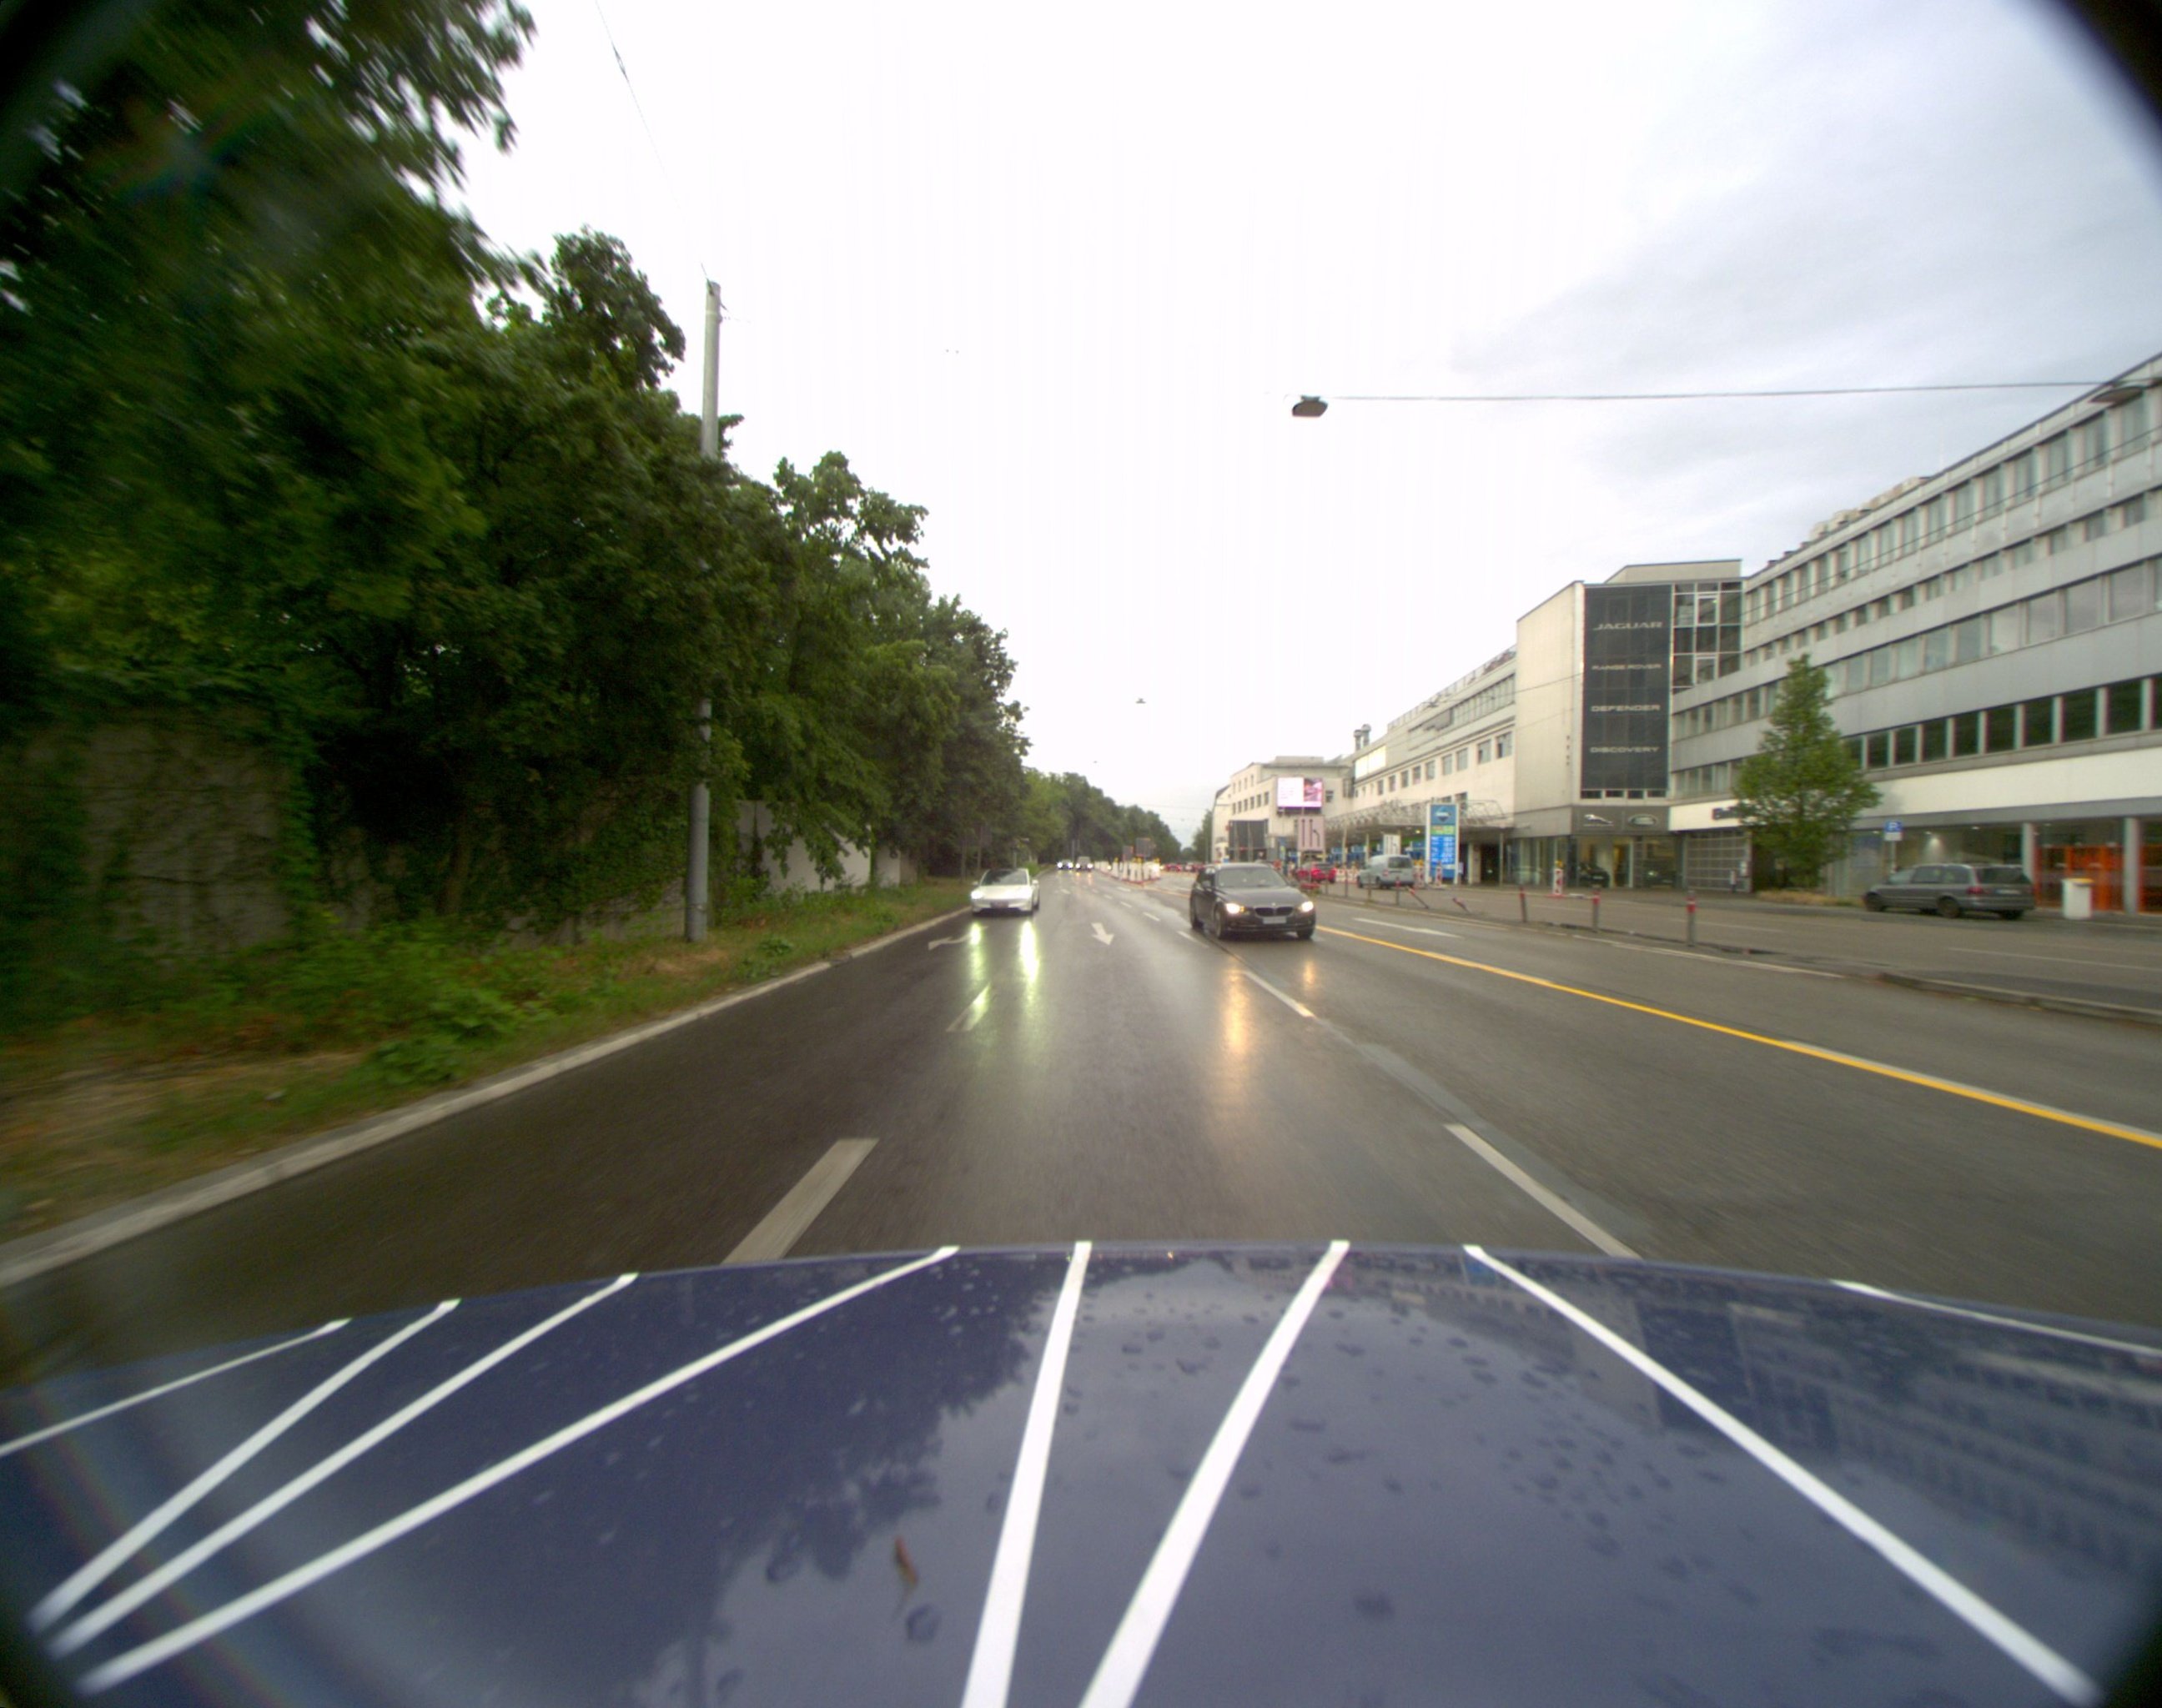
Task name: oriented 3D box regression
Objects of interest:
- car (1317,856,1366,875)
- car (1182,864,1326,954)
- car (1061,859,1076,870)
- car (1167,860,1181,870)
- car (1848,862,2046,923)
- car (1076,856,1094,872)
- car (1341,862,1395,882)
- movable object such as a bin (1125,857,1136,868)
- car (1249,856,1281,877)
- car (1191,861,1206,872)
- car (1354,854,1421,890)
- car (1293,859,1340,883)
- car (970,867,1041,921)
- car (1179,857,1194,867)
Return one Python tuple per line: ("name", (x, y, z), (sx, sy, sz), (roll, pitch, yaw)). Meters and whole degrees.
("car", (27.554, 1.177, 80.456), (4.432, 1.760, 1.972), (2, 0, 41))
("car", (3.344, 1.004, 15.532), (1.764, 1.441, 4.176), (-2, 1, -3))
("car", (-1.724, 1.424, 104.558), (1.741, 1.477, 3.918), (-2, 0, 2))
("car", (13.914, 1.619, 113.774), (1.692, 1.346, 4.116), (2, 0, 3))
("car", (28.889, 1.193, 25.628), (1.851, 1.768, 4.734), (2, 0, 11))
("car", (0.532, 1.151, 90.462), (1.998, 1.739, 4.000), (2, 0, 2))
("car", (28.246, 1.768, 74.828), (4.465, 1.669, 2.019), (2, 0, 41))
("movable object such as a bin", (10.462, 1.844, 159.301), (1.997, 2.099, 3.852), (2, -1, 8))
("car", (16.295, 1.055, 67.550), (1.850, 1.727, 4.605), (1, 0, 1))
("car", (17.484, 1.835, 113.243), (1.755, 1.505, 4.001), (2, 1, 4))
("car", (16.231, 0.890, 40.477), (1.738, 1.775, 4.301), (2, 0, -1))
("car", (16.069, 1.115, 52.044), (1.834, 1.493, 4.373), (2, 0, 0))
("car", (-2.317, 1.211, 24.305), (1.840, 1.424, 4.272), (-2, 0, 0))
("car", (19.486, 1.512, 139.944), (1.985, 1.697, 4.831), (1, 0, -1))
